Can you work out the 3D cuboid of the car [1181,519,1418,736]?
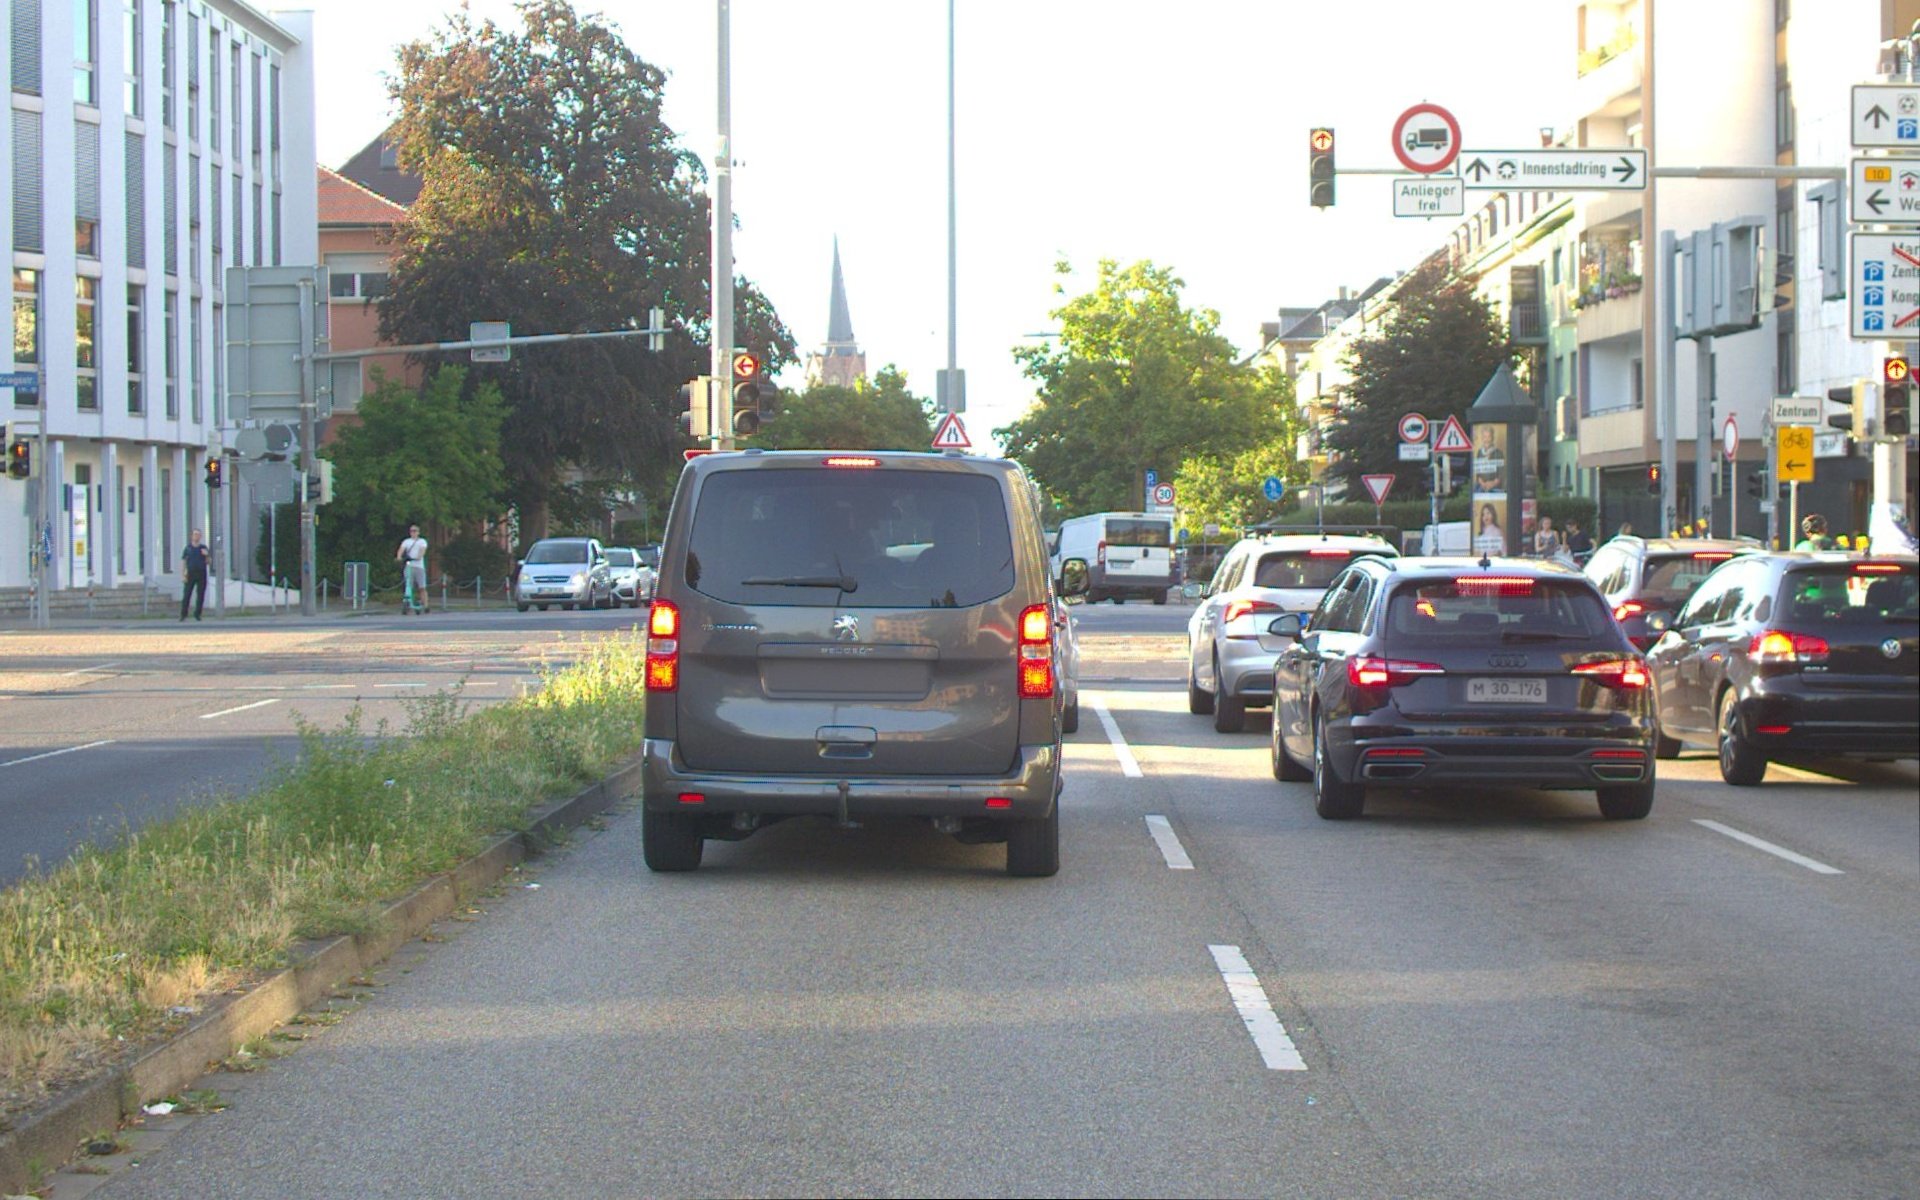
[{"bbox_3d":[2.683,0.169,27.843,1.529,1.608,3.745,1,1,0],"label":"car"}]

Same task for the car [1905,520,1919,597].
[{"bbox_3d":[19.749,-0.778,63.641,3.986,1.415,1.788,0,1,-6],"label":"car"}]

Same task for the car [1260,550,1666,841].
[{"bbox_3d":[2.739,0.457,19.573,1.681,1.416,4.214,1,1,0],"label":"car"}]

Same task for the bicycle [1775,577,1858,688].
[{"bbox_3d":[8.215,0.297,33.020,0.336,1.004,1.856,0,1,0],"label":"bicycle"}]

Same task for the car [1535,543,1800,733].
[{"bbox_3d":[5.759,0.270,28.286,1.505,1.444,3.305,0,1,0],"label":"car"}]

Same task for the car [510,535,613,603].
[{"bbox_3d":[-8.722,-0.704,75.493,1.856,1.415,4.000,0,1,-1],"label":"car"}]

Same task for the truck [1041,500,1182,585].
[{"bbox_3d":[3.811,-1.478,87.319,2.127,2.079,4.633,-1,1,-17],"label":"truck"}]

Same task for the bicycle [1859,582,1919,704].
[{"bbox_3d":[8.269,0.362,30.050,0.336,1.004,1.856,0,1,0],"label":"bicycle"}]

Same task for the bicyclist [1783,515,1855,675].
[{"bbox_3d":[8.259,-0.056,33.061,0.513,1.520,0.725,0,1,0],"label":"bicyclist"}]

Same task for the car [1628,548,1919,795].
[{"bbox_3d":[5.574,0.408,22.562,1.634,1.444,3.745,1,1,0],"label":"car"}]

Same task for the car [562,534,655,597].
[{"bbox_3d":[-8.244,-0.829,80.964,1.856,1.415,4.000,0,1,-1],"label":"car"}]

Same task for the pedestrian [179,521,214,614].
[{"bbox_3d":[-14.293,-0.615,64.346,0.625,1.716,0.671,-1,1,-13],"label":"pedestrian"}]

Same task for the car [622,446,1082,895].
[{"bbox_3d":[-0.448,0.248,16.764,1.907,1.857,4.527,1,1,0],"label":"car"}]

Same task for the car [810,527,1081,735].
[{"bbox_3d":[-0.099,0.188,27.387,1.993,1.525,4.000,0,1,0],"label":"car"}]

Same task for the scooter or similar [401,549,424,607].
[{"bbox_3d":[-11.367,-0.455,71.373,0.285,1.184,1.169,0,1,0],"label":"scooter or similar"}]

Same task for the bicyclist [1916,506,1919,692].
[{"bbox_3d":[8.067,-0.003,27.969,0.441,1.520,0.482,0,1,0],"label":"bicyclist"}]

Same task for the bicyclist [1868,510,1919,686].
[{"bbox_3d":[8.275,-0.023,30.124,0.441,1.520,0.725,0,1,0],"label":"bicyclist"}]

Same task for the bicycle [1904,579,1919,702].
[{"bbox_3d":[8.081,0.350,27.913,0.336,1.004,1.856,0,1,0],"label":"bicycle"}]

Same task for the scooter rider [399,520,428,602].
[{"bbox_3d":[-11.376,-0.809,71.522,0.481,1.691,0.636,0,1,0],"label":"scooter rider"}]

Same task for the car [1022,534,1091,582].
[{"bbox_3d":[3.432,-1.502,122.530,1.993,1.656,4.001,-1,1,-5],"label":"car"}]
